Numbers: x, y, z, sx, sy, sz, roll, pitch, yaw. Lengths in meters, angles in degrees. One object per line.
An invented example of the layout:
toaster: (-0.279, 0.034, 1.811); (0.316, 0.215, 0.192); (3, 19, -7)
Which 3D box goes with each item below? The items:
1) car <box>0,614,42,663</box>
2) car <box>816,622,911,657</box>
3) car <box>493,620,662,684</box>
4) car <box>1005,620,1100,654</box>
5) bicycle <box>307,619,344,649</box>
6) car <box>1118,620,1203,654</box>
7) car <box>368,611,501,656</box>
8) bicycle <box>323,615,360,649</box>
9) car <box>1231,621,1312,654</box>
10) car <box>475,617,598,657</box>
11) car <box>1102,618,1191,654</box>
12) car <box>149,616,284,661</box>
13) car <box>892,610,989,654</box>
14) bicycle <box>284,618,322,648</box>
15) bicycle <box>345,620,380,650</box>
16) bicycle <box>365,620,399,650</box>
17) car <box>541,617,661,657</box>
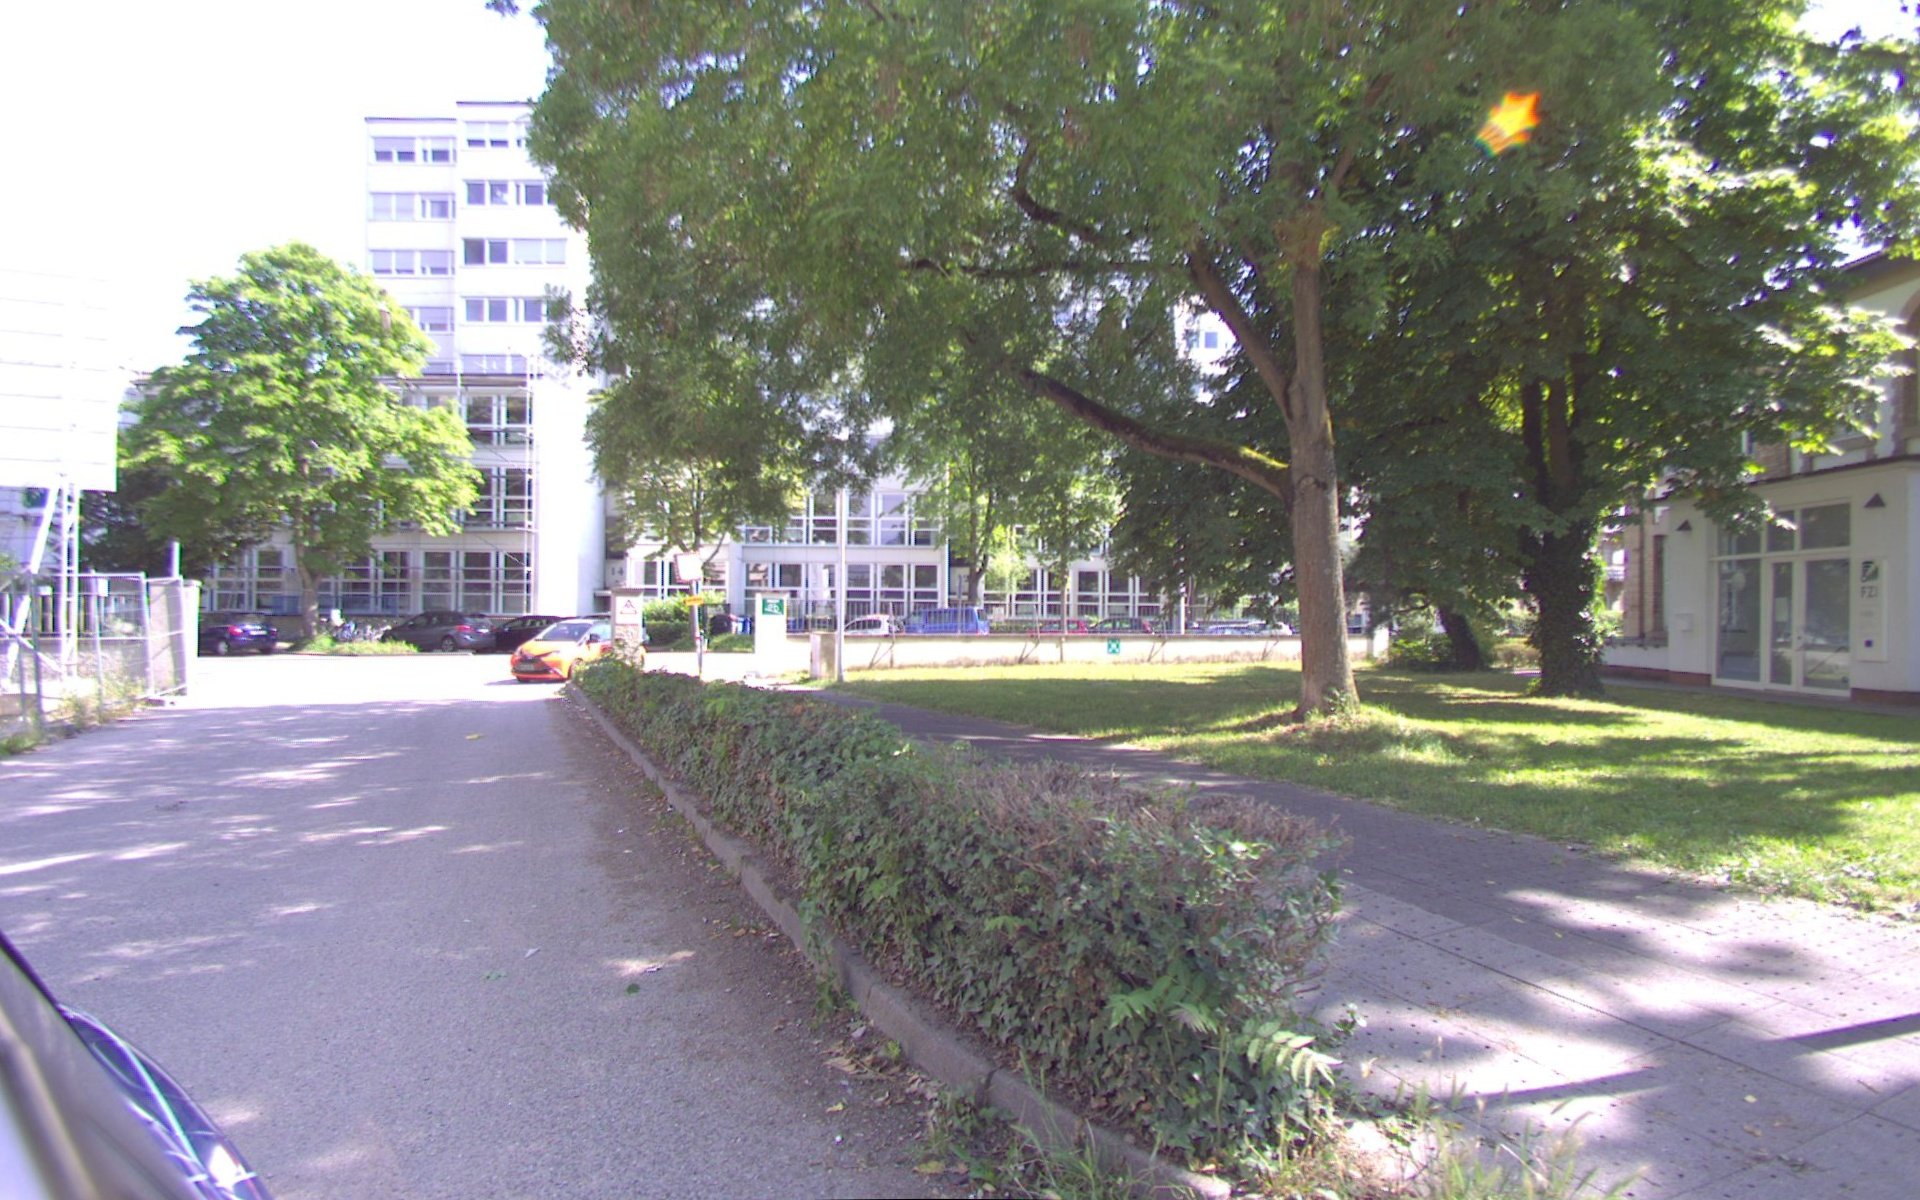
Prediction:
car: (-30.613, 1.149, 31.101); (4.114, 1.421, 1.832); (1, 1, 19)
car: (-4.184, 1.676, 43.808); (3.835, 1.474, 1.692); (-1, -2, 31)
car: (-9.241, 1.245, 24.826); (1.649, 1.423, 4.149); (-1, -2, 18)
car: (4.400, 1.759, 47.870); (4.186, 1.550, 1.771); (-1, -2, 19)
bicycle: (-26.215, 1.387, 41.835); (0.482, 1.209, 2.020); (0, -1, -7)
car: (10.014, 1.854, 50.555); (3.968, 1.652, 1.821); (-1, -2, 19)
car: (-19.216, 1.202, 37.027); (4.354, 1.577, 1.797); (-1, -1, 18)
bicycle: (-25.597, 1.304, 41.921); (0.482, 1.389, 2.020); (0, -1, -7)
car: (16.496, 1.961, 53.636); (3.974, 1.674, 1.815); (-1, -2, 23)
car: (-16.085, 1.383, 38.473); (4.148, 1.487, 1.792); (0, -2, 16)
car: (8.952, 1.738, 48.511); (3.968, 1.652, 1.792); (-1, -2, 19)
car: (-24.930, 1.270, 33.954); (3.966, 1.463, 1.645); (0, -1, 17)
car: (-0.865, 1.434, 44.920); (3.968, 1.921, 1.776); (-1, -2, 19)
bicycle: (-26.974, 1.348, 41.589); (0.482, 1.209, 2.020); (0, -1, -8)
bicycle: (-24.716, 1.418, 41.905); (0.482, 1.209, 2.020); (0, -1, -7)
bicycle: (-24.030, 1.450, 42.089); (0.482, 1.209, 2.020); (0, -1, -7)
car: (-14.184, 1.438, 39.995); (4.306, 1.497, 1.790); (0, -2, 20)
